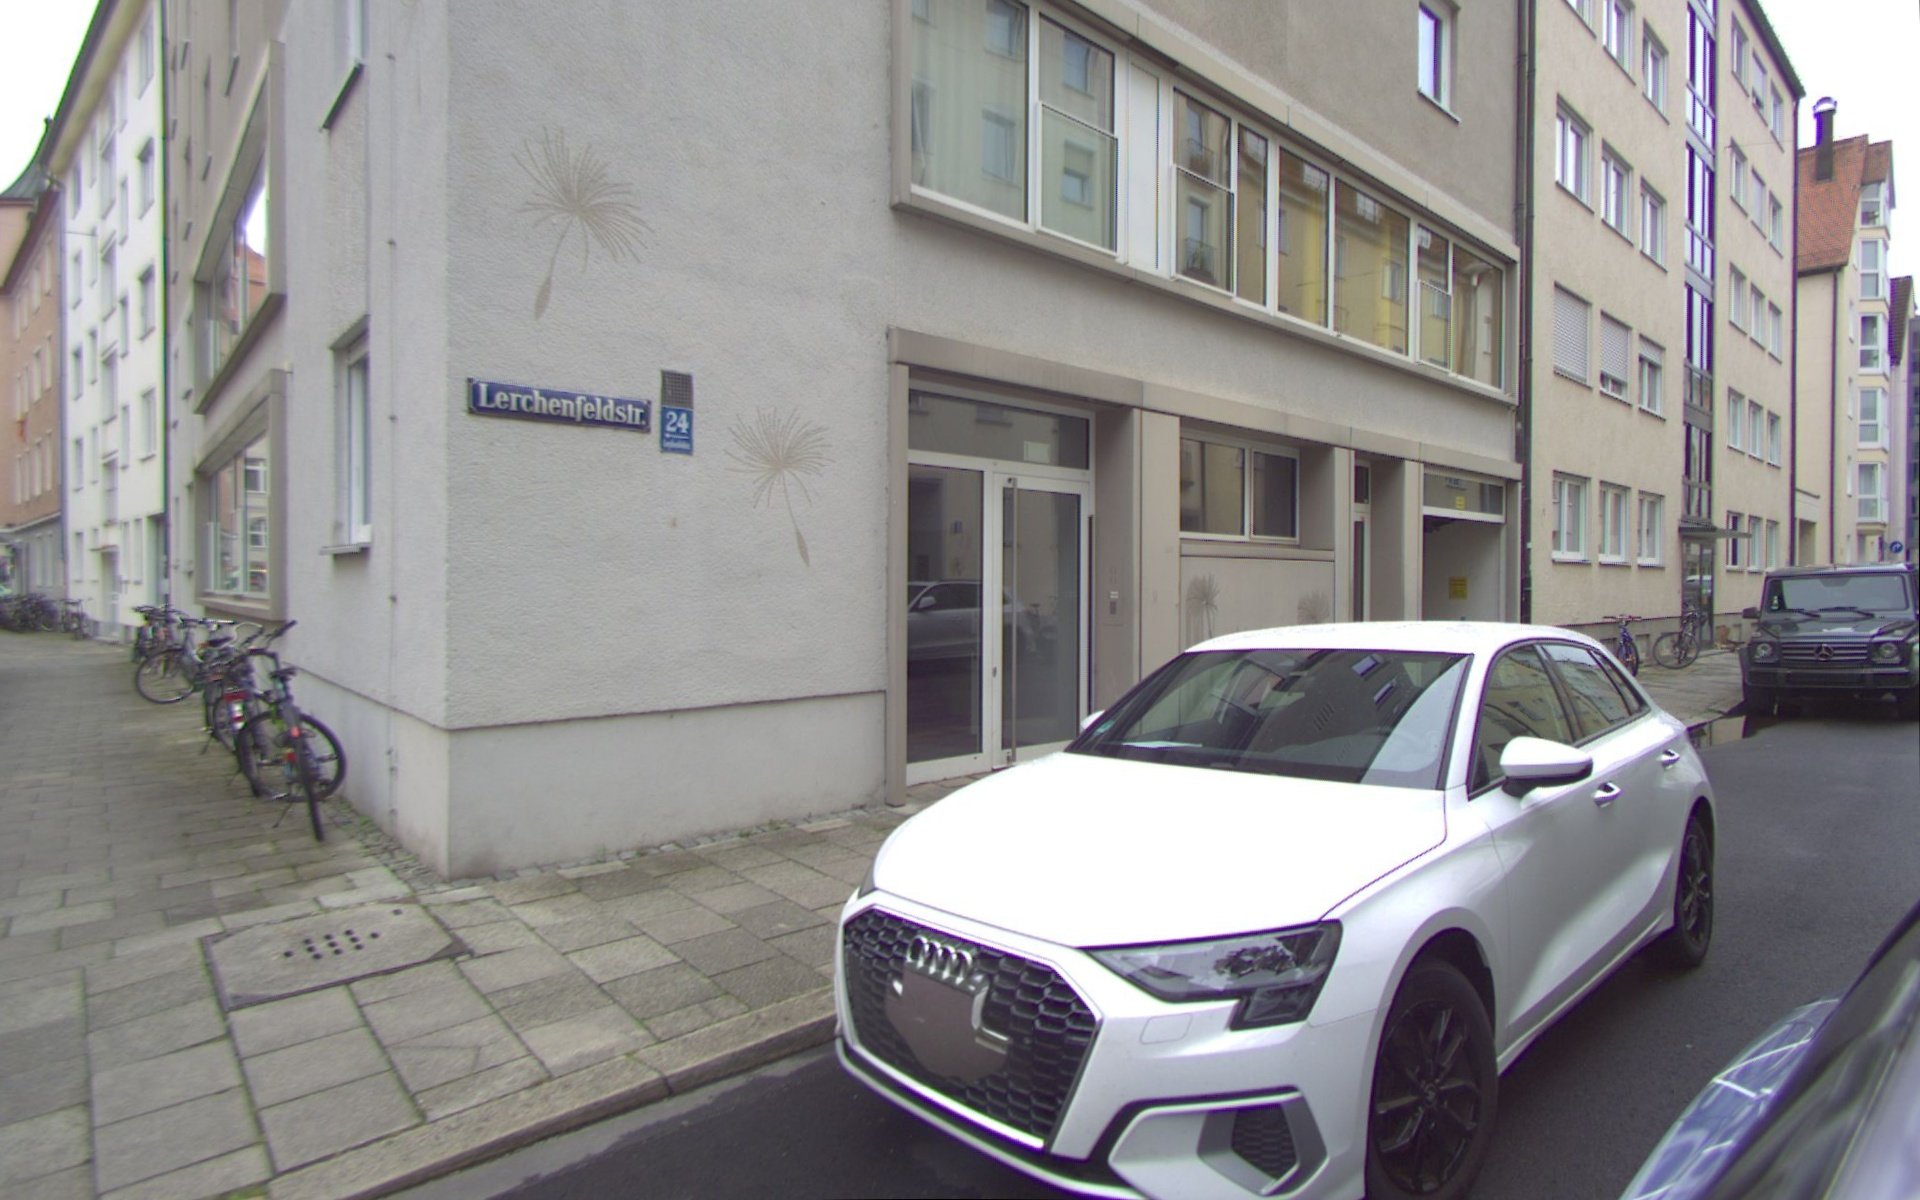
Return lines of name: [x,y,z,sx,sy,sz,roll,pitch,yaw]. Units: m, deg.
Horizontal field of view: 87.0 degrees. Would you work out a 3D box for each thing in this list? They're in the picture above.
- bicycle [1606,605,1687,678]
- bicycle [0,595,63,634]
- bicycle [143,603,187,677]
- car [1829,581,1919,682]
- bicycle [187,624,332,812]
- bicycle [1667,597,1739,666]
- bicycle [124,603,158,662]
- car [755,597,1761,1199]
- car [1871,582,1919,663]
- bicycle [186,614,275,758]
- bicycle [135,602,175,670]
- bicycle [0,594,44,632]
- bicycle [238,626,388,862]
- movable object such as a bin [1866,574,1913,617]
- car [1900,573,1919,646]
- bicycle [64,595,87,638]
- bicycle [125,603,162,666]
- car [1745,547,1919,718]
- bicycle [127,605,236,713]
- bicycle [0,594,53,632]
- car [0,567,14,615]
bicycle: [11.129,0.644,16.388,1.766,1.041,0.645,-1,5,-42]
bicycle: [-28.294,0.428,30.759,0.595,1.130,2.037,-1,0,-12]
bicycle: [-12.947,0.619,16.461,0.457,1.130,1.799,-1,0,-42]
car: [16.130,0.457,17.161,4.174,1.504,1.713,-2,1,-44]
bicycle: [-5.056,0.762,7.254,0.639,1.130,1.799,-1,0,-42]
bicycle: [13.473,0.549,18.342,1.730,1.119,0.655,-1,5,-42]
bicycle: [-16.663,0.641,20.582,0.457,1.130,1.799,-1,0,-42]
car: [1.409,0.725,3.756,3.884,1.426,1.821,-1,0,-42]
car: [19.885,0.391,20.578,4.174,1.504,1.713,-2,1,-44]
bicycle: [-6.489,0.704,8.969,0.457,1.130,1.799,-1,0,-42]
bicycle: [-14.212,0.608,17.847,0.457,1.130,1.799,-1,0,-42]
bicycle: [-29.590,0.394,31.635,0.455,1.130,2.037,-1,0,-12]
bicycle: [-3.804,0.742,5.887,0.457,1.130,1.799,-1,0,-42]
movable object such as a bin: [32.649,-0.179,35.556,1.560,1.440,1.034,-2,3,-42]
car: [23.502,0.165,23.821,4.173,1.628,1.713,-2,0,-43]
bicycle: [-24.101,0.444,27.577,0.457,1.130,1.799,-1,0,-42]
bicycle: [-15.486,0.623,19.174,0.457,1.130,1.799,-1,0,-42]
car: [12.289,0.384,13.885,4.271,2.001,1.752,0,-2,-44]
bicycle: [-9.105,0.632,11.798,0.865,1.130,2.051,-1,0,-42]
bicycle: [-28.982,0.381,31.266,0.455,1.130,2.037,-1,0,-12]
car: [-54.150,-0.437,53.531,1.993,2.577,5.900,-1,0,43]
